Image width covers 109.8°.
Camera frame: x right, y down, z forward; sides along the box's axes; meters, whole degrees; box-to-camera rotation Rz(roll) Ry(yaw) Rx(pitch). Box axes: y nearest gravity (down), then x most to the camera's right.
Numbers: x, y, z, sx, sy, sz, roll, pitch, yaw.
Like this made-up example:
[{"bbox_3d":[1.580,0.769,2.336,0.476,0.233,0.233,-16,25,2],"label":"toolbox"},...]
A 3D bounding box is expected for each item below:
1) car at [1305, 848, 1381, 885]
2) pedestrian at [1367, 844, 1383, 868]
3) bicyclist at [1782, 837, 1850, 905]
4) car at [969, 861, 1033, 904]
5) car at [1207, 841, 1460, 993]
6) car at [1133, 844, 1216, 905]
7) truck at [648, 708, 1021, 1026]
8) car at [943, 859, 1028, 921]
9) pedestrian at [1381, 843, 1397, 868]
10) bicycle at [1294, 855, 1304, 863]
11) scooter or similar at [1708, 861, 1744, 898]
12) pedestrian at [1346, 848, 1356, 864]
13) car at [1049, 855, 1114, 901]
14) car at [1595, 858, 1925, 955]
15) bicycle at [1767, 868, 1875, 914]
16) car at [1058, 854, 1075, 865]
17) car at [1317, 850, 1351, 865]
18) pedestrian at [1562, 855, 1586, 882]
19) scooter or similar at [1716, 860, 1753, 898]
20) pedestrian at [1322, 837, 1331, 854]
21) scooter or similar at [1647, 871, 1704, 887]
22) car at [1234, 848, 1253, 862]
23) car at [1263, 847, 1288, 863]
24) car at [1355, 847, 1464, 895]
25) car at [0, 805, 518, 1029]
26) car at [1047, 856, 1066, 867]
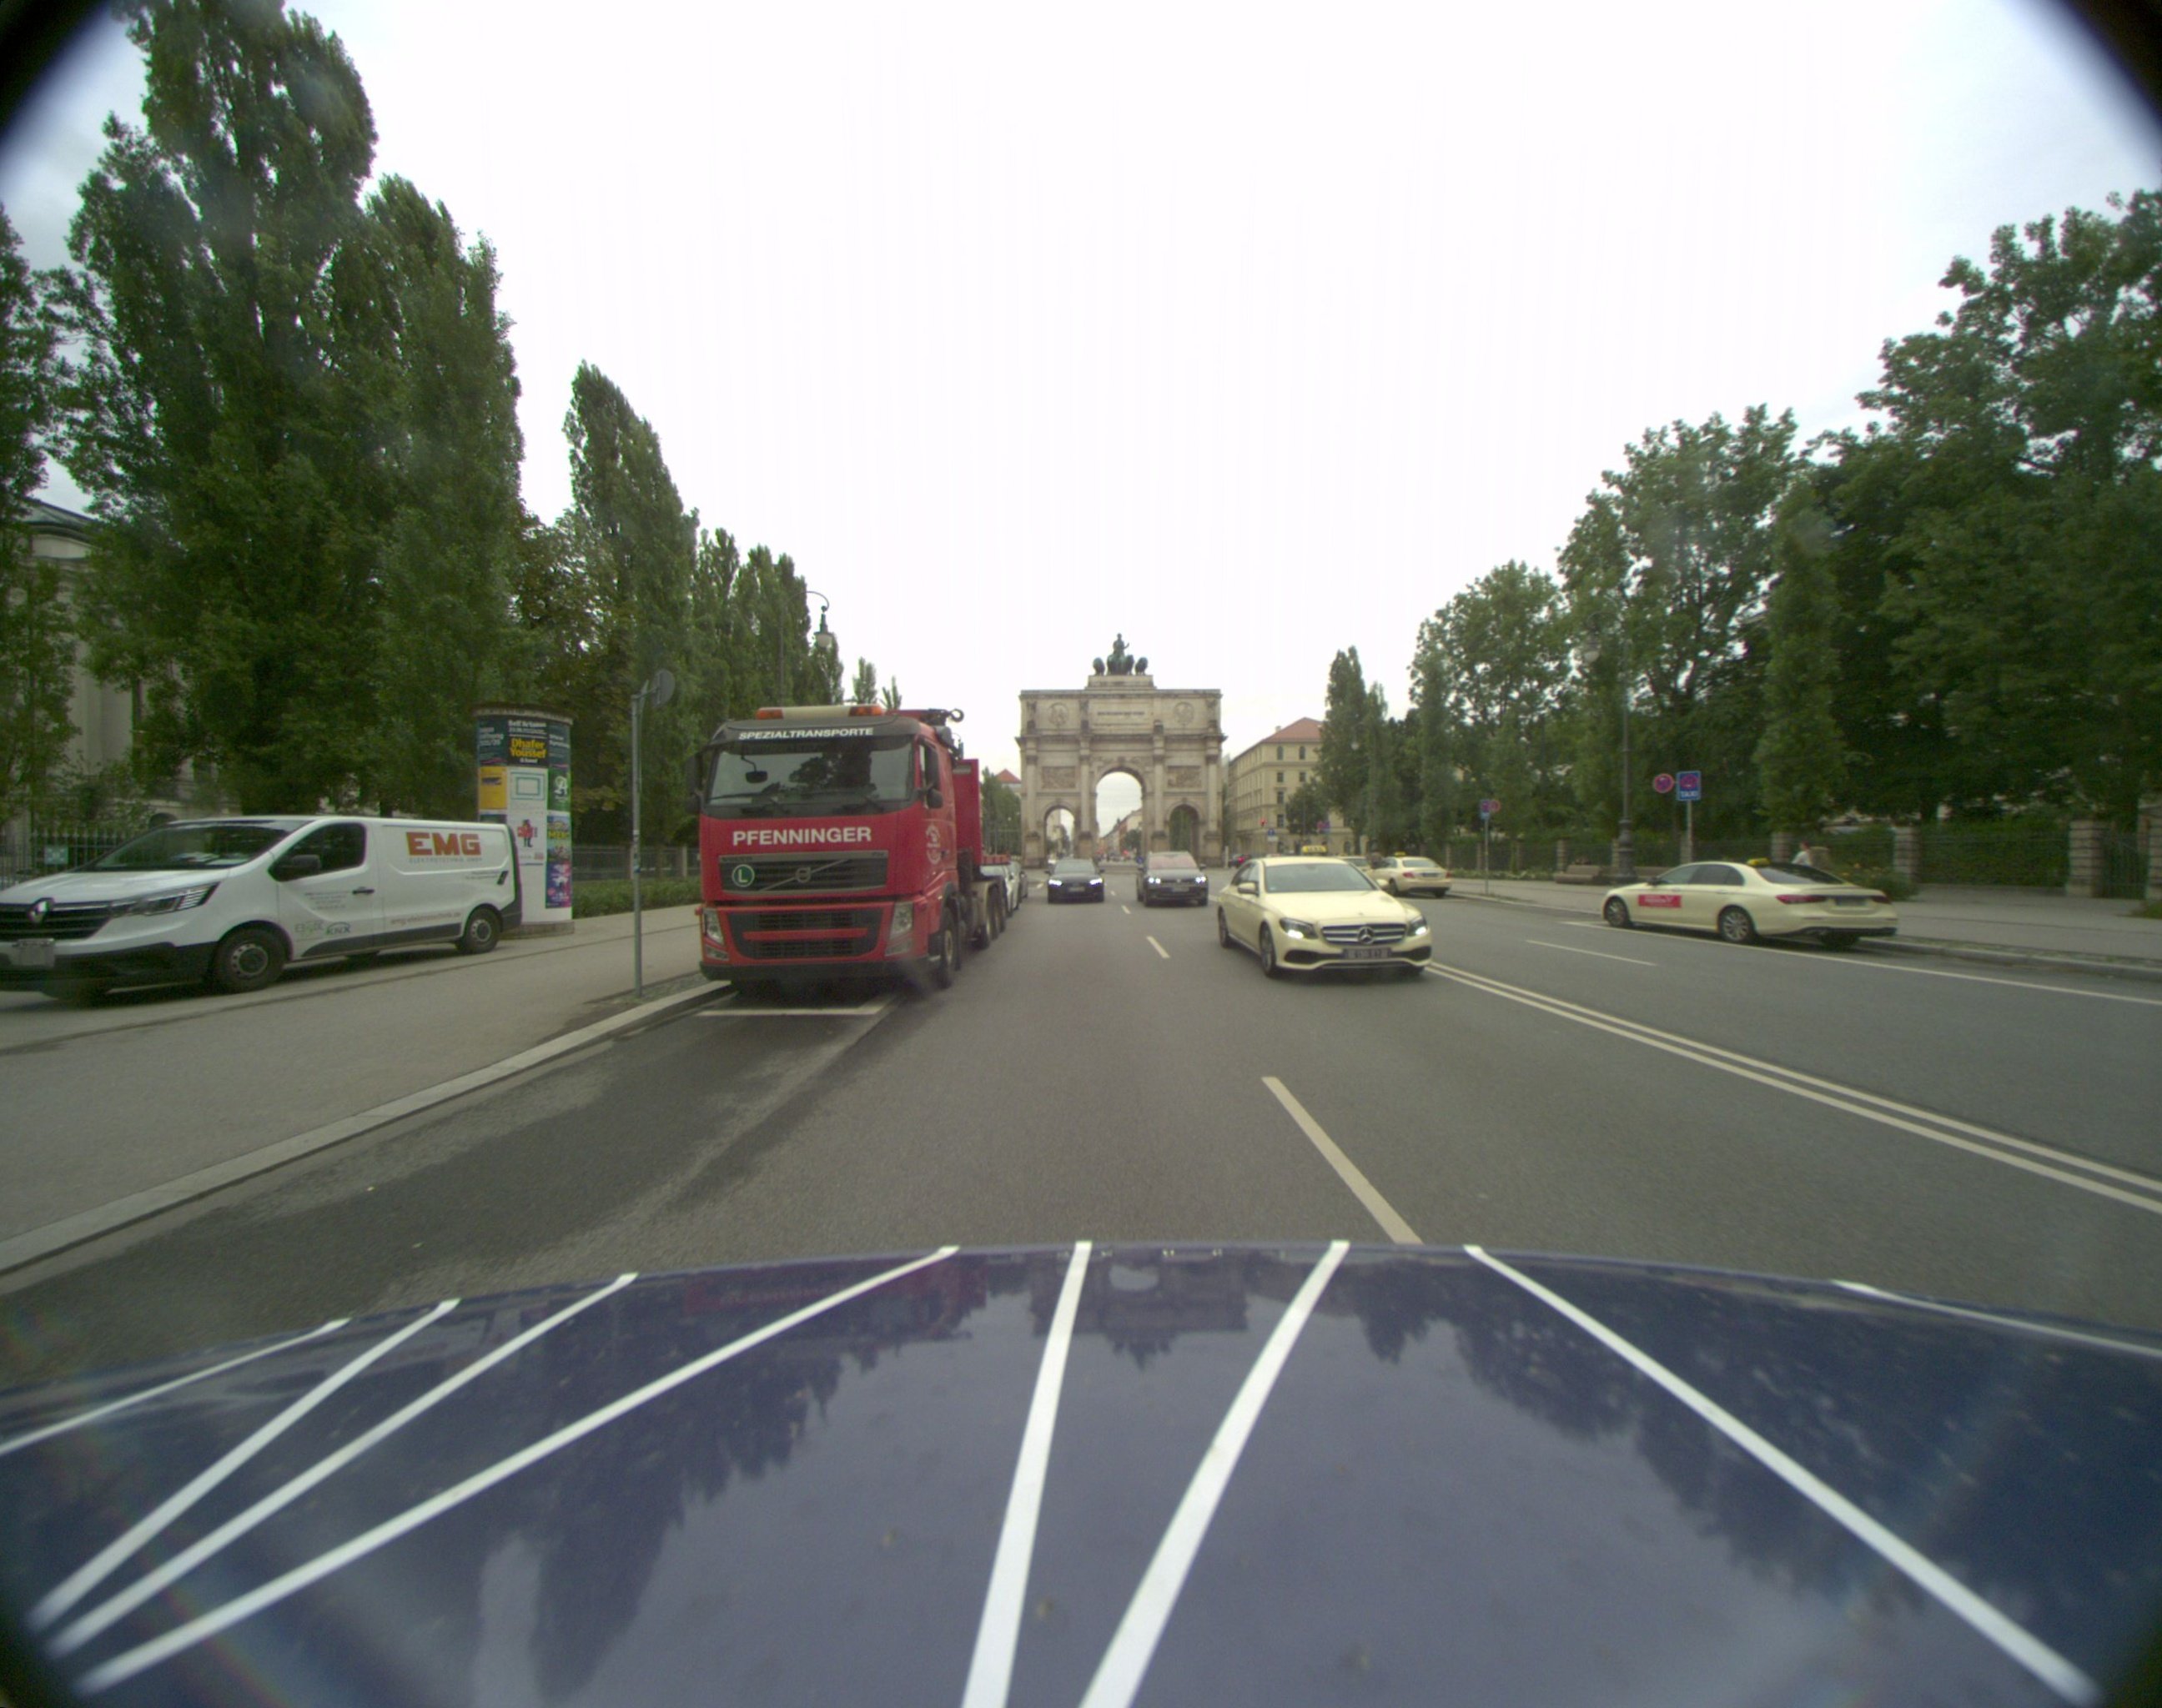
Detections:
[{"bbox_3d":[12.131,0.515,35.562,1.823,1.550,4.858,1,1,0],"label":"car"},{"bbox_3d":[20.509,0.127,53.015,0.846,1.668,0.967,0,1,6],"label":"pedestrian"},{"bbox_3d":[16.526,0.363,17.098,0.695,1.489,0.861,0,1,-1],"label":"bicyclist"},{"bbox_3d":[-2.734,0.943,26.820,1.739,1.302,4.370,0,0,1],"label":"car"},{"bbox_3d":[3.111,0.648,10.534,1.919,1.566,4.688,-2,1,0],"label":"car"},{"bbox_3d":[2.763,0.553,23.369,1.953,1.615,4.411,-2,1,0],"label":"car"},{"bbox_3d":[-2.815,0.102,12.646,2.720,3.092,10.425,0,0,0],"label":"truck"},{"bbox_3d":[-2.539,0.916,21.065,1.792,1.451,4.217,-1,0,0],"label":"car"},{"bbox_3d":[21.337,0.112,52.658,0.846,1.668,0.967,0,1,6],"label":"pedestrian"},{"bbox_3d":[28.337,0.672,98.613,0.643,0.968,1.760,0,0,-6],"label":"bicycle"},{"bbox_3d":[21.445,0.825,25.259,0.243,1.194,1.122,0,1,0],"label":"scooter or similar"},{"bbox_3d":[30.284,0.268,85.221,0.915,1.775,0.754,0,1,-5],"label":"pedestrian"},{"bbox_3d":[-0.070,0.767,26.196,1.923,1.320,4.409,-2,1,-3],"label":"car"},{"bbox_3d":[12.132,0.827,14.169,1.935,1.488,4.790,0,0,1],"label":"car"},{"bbox_3d":[16.542,0.800,17.038,0.709,0.933,1.735,-1,0,-1],"label":"bicycle"},{"bbox_3d":[-2.454,0.937,133.236,1.785,1.739,4.326,0,0,16],"label":"car"},{"bbox_3d":[34.588,0.512,104.121,3.997,2.002,2.000,0,1,0],"label":"car"},{"bbox_3d":[24.434,0.711,37.681,0.578,1.329,0.838,-1,1,-27],"label":"pedestrian"},{"bbox_3d":[21.709,0.820,25.254,0.243,1.194,1.122,0,1,0],"label":"scooter or similar"},{"bbox_3d":[29.920,-1.060,92.666,0.796,2.002,0.754,-1,1,-35],"label":"pedestrian"},{"bbox_3d":[22.887,0.943,29.237,2.241,0.515,1.329,0,0,-41],"label":"scooter or similar"},{"bbox_3d":[19.923,0.082,93.054,1.785,1.662,4.001,0,0,5],"label":"car"},{"bbox_3d":[23.960,0.132,93.698,2.004,1.844,4.990,1,1,2],"label":"car"},{"bbox_3d":[12.225,0.559,28.688,1.942,1.615,4.964,0,1,0],"label":"car"},{"bbox_3d":[-9.522,0.563,9.121,1.885,1.933,4.884,-2,0,-1],"label":"car"},{"bbox_3d":[-4.099,1.290,127.883,1.785,1.739,4.325,0,0,16],"label":"car"}]
